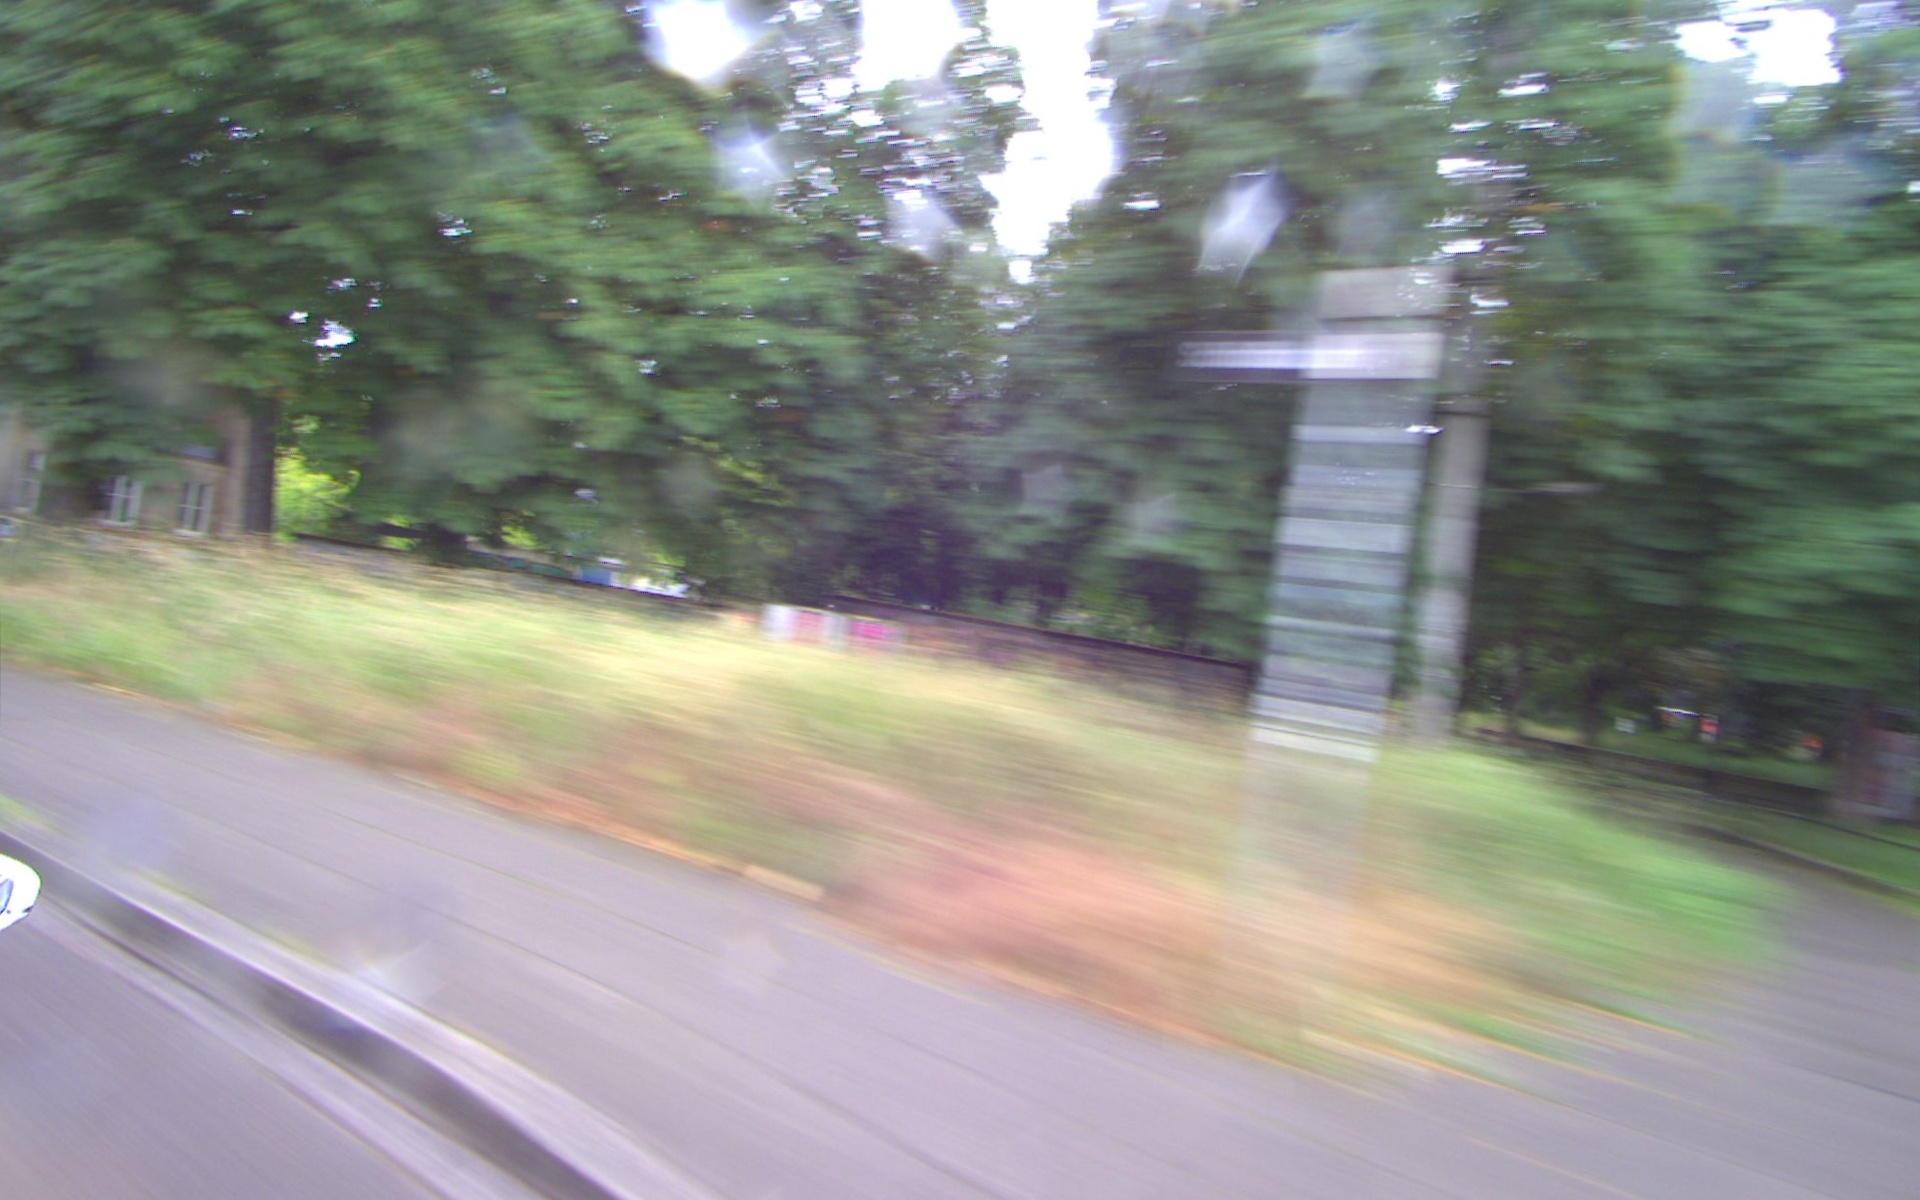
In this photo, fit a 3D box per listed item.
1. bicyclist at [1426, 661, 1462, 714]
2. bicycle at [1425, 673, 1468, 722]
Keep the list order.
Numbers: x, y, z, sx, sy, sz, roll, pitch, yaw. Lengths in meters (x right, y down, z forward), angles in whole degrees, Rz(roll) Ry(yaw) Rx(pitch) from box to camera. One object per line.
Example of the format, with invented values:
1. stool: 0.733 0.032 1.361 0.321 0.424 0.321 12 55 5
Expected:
1. bicyclist: 12.843 2.315 26.720 0.583 1.310 0.801 6 -1 16
2. bicycle: 12.731 2.533 26.342 0.614 1.153 1.713 6 -1 16
